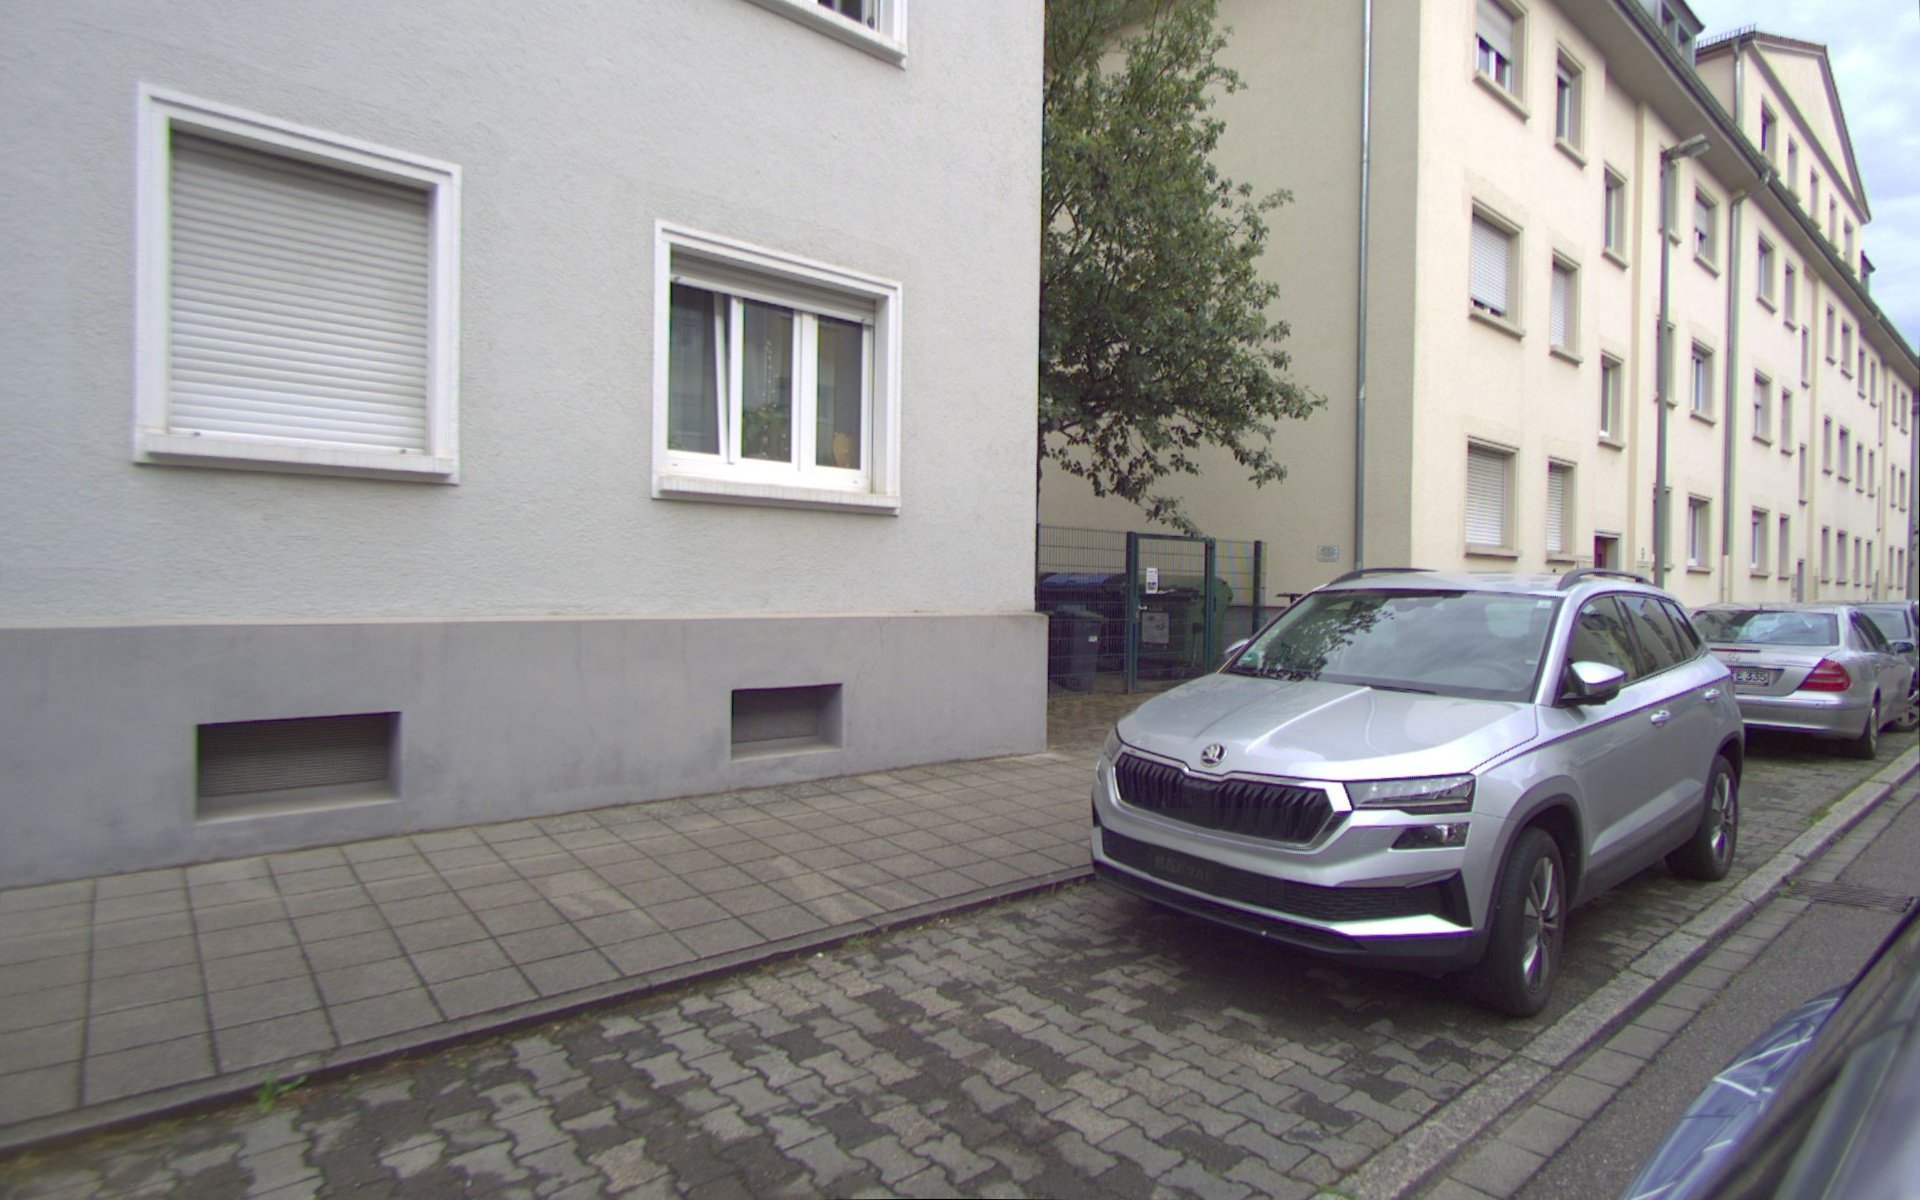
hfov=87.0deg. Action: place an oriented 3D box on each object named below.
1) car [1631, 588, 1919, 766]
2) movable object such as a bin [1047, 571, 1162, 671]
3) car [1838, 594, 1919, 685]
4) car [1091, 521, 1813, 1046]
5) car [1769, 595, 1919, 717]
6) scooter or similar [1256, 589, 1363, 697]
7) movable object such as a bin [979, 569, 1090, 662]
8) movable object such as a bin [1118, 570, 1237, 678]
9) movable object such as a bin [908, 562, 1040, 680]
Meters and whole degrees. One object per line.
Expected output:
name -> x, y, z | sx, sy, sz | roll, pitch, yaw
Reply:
car -> 8.877, 0.651, 10.660 | 4.422, 1.495, 1.729 | 0, 1, -38
movable object such as a bin -> 2.162, 0.286, 15.158 | 1.283, 1.396, 1.111 | 0, 1, -41
car -> 16.880, 0.644, 17.733 | 3.767, 1.468, 1.851 | 0, 1, -43
car -> 2.729, 0.552, 5.196 | 4.018, 1.662, 1.824 | 0, 2, -40
car -> 12.842, 0.688, 14.237 | 3.801, 1.495, 1.606 | 0, 0, -41
scooter or similar -> 4.372, 0.512, 12.735 | 0.512, 1.261, 1.284 | 1, 1, -23
movable object such as a bin -> 1.197, 0.222, 16.296 | 1.283, 1.396, 1.194 | 0, 1, -41
movable object such as a bin -> 3.025, 0.304, 14.068 | 1.283, 1.396, 1.034 | 0, 1, -41
movable object such as a bin -> 0.171, 0.237, 12.816 | 1.198, 1.396, 1.141 | 0, 1, -38
